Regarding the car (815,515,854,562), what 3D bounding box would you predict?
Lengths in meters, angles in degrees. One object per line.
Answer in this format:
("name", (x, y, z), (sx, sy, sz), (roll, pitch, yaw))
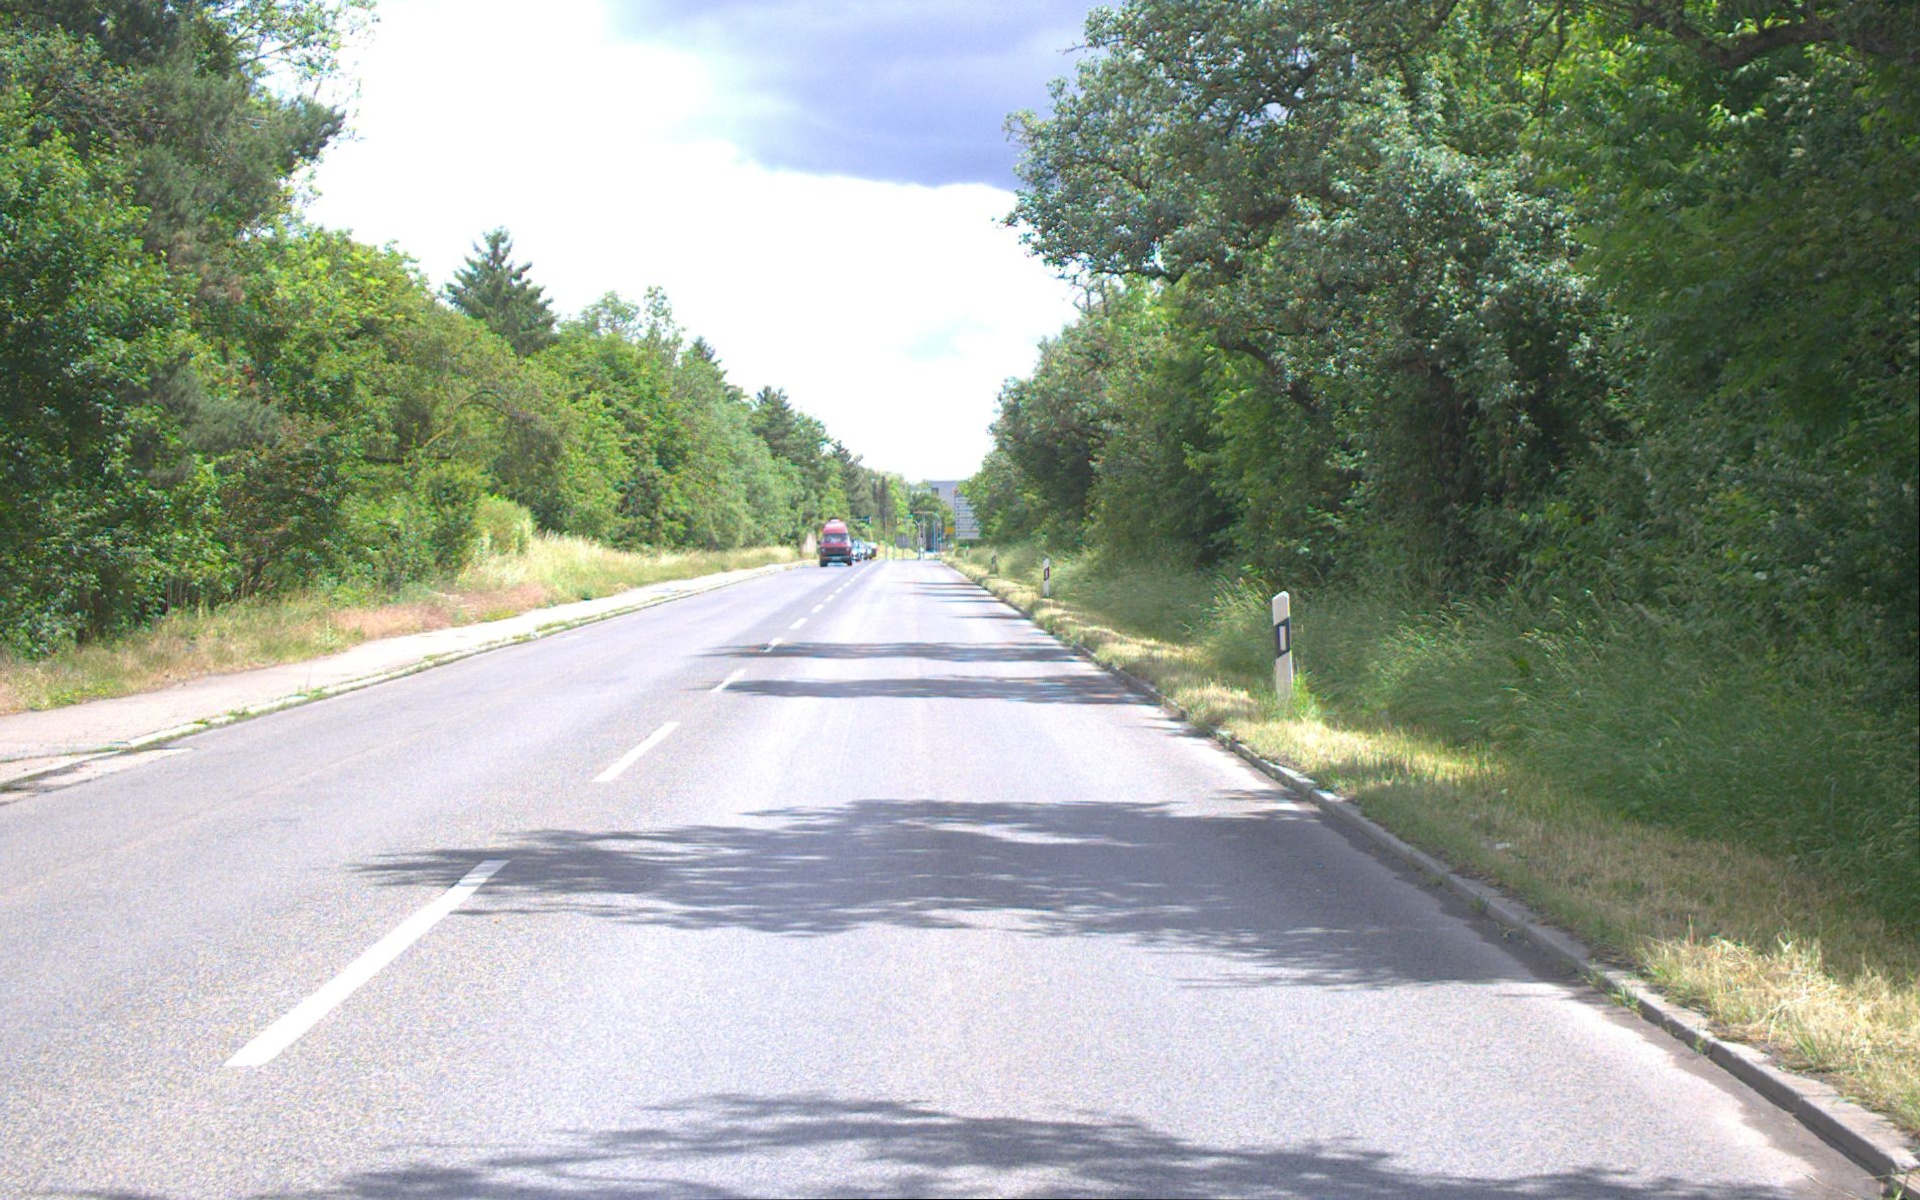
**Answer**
("car", (-7.067, -3.447, 193.521), (1.969, 2.541, 4.725), (-3, 1, -1))
